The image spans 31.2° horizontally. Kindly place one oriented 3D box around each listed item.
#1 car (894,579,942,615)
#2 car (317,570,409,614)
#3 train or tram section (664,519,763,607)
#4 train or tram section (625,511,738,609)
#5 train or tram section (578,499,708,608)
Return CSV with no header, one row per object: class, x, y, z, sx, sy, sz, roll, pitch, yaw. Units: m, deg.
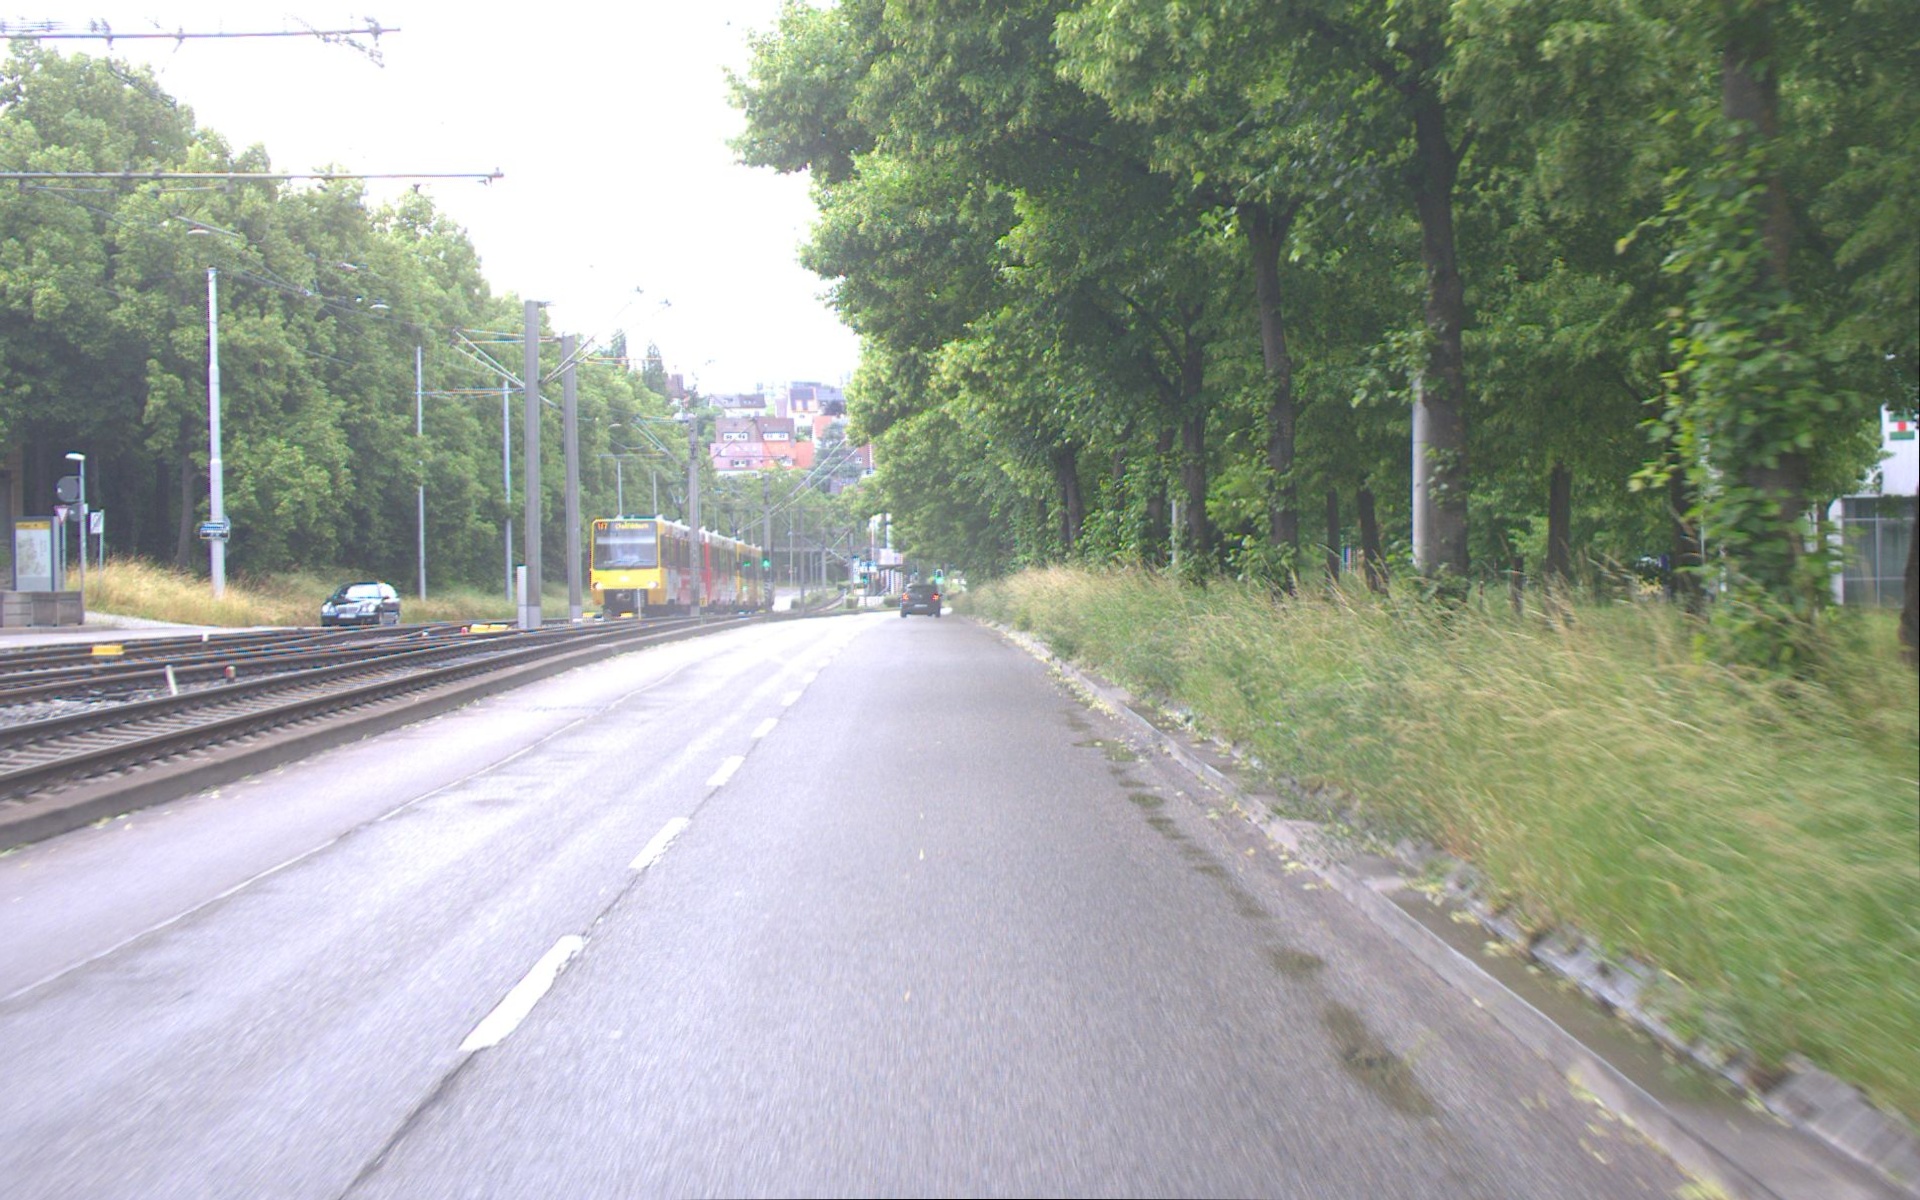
car,-1.754,-0.129,145.705,1.982,1.436,4.474,-1,1,0
car,-18.281,-0.233,105.479,1.902,1.320,4.826,-1,0,1
train or tram section,-11.184,-1.584,157.283,3.214,3.783,14.789,-1,0,1
train or tram section,-11.417,-1.560,142.439,3.214,3.783,14.789,-1,0,1
train or tram section,-11.622,-1.607,127.614,3.214,3.783,14.789,-1,0,1
